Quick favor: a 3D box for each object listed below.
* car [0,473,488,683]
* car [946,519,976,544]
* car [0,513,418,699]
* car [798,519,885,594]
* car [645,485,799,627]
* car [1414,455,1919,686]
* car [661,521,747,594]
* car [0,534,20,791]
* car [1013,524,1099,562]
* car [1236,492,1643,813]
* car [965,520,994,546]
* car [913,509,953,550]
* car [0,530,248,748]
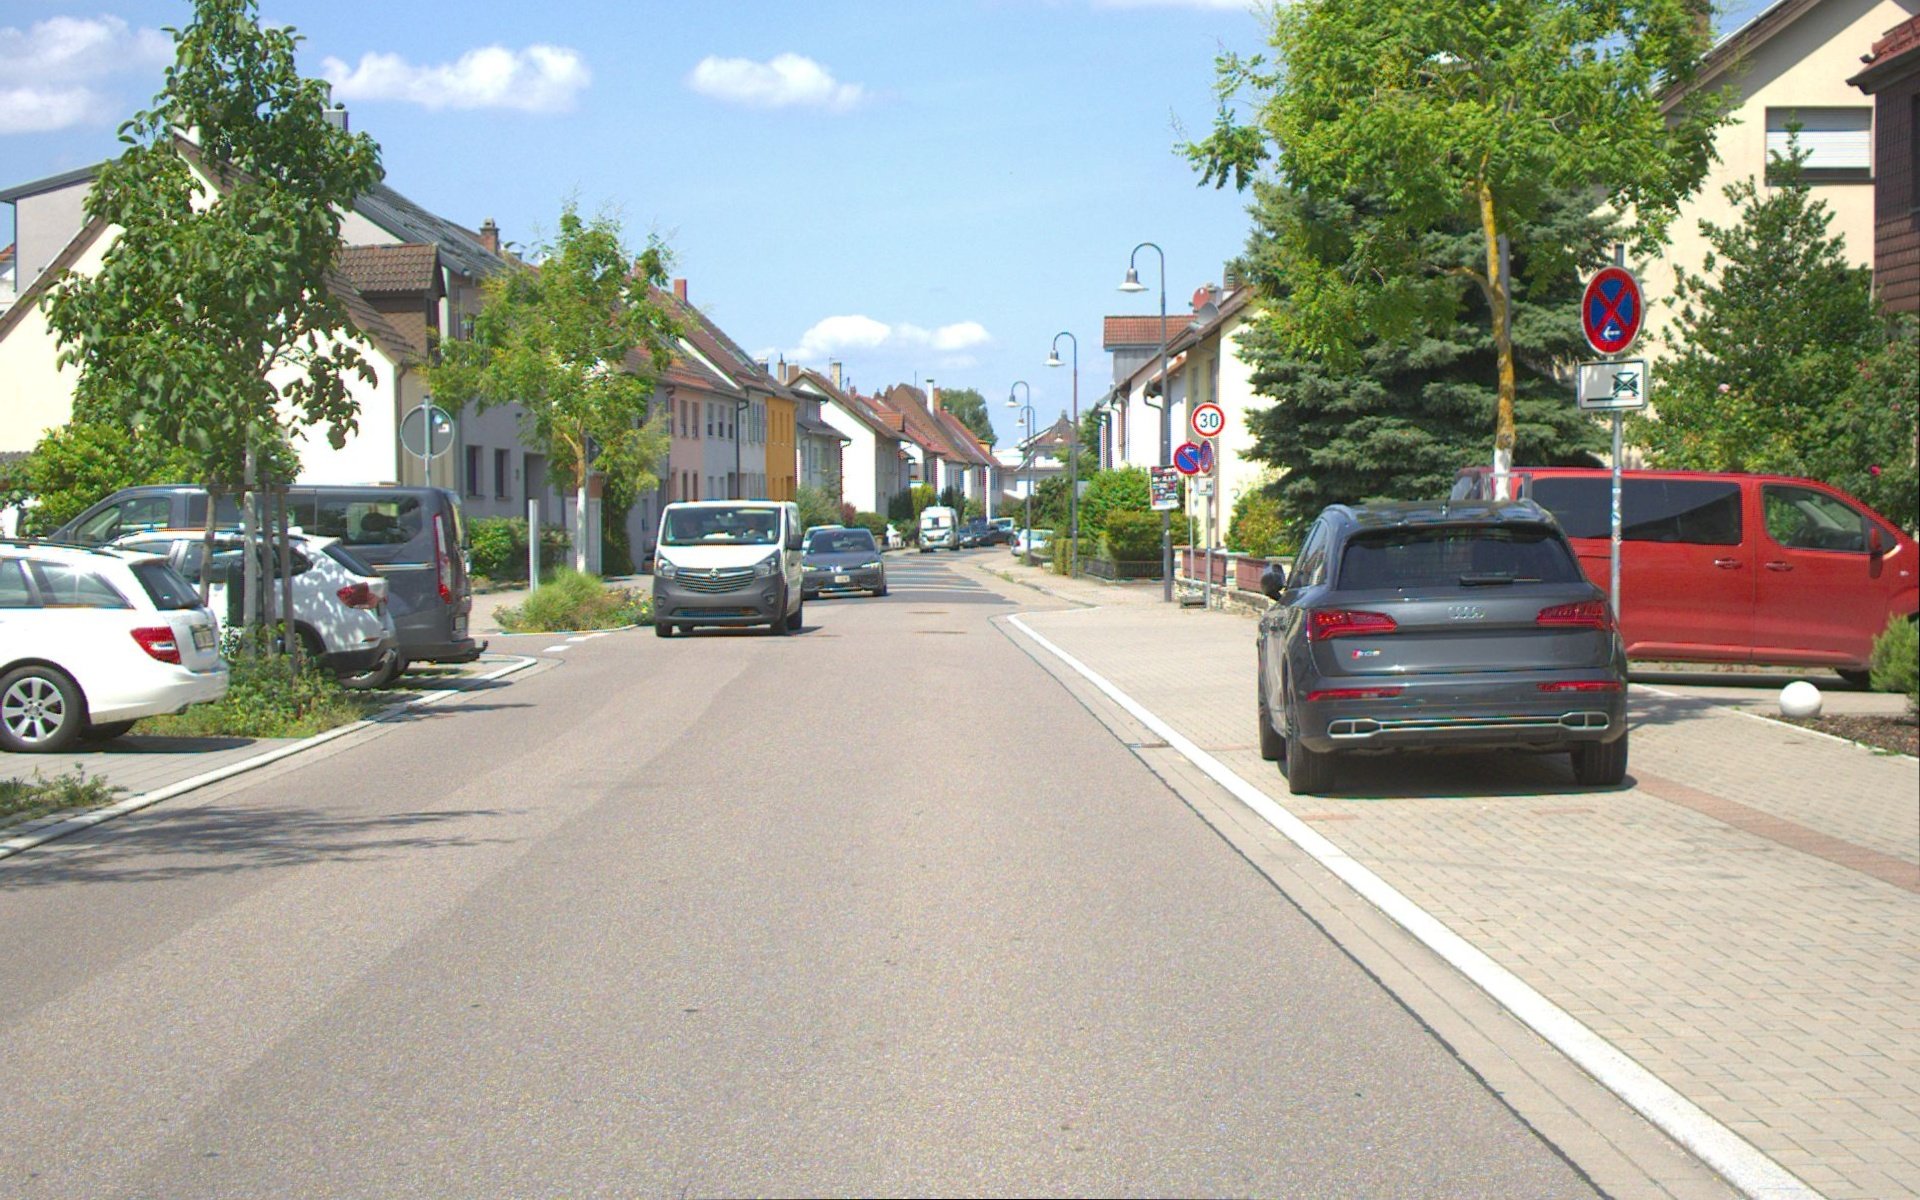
[{"bbox_3d":[-7.145,-0.224,33.853,4.700,1.916,1.938,1,0,-1],"label":"car"},{"bbox_3d":[0.045,-4.360,219.831,1.691,1.498,3.771,1,1,3],"label":"car"},{"bbox_3d":[-7.119,0.039,31.160,4.182,1.563,1.774,1,0,-4],"label":"car"},{"bbox_3d":[-2.540,-0.952,73.838,1.762,1.517,4.049,-2,1,-2],"label":"car"},{"bbox_3d":[-3.403,-0.639,49.928,2.022,1.943,4.899,-1,1,-2],"label":"car"},{"bbox_3d":[6.458,-0.250,30.146,4.618,1.887,2.021,1,0,-2],"label":"car"},{"bbox_3d":[-5.852,-1.003,79.018,1.816,1.428,4.140,3,2,-3],"label":"car"},{"bbox_3d":[-7.361,0.335,19.220,3.878,1.463,1.659,1,0,-9],"label":"car"},{"bbox_3d":[4.003,-2.380,143.787,3.523,1.459,1.628,1,0,0],"label":"car"},{"bbox_3d":[2.731,0.213,20.536,1.864,1.630,4.446,-2,2,2],"label":"car"},{"bbox_3d":[1.288,-4.415,227.307,1.691,1.654,3.771,1,1,3],"label":"car"},{"bbox_3d":[-1.527,-4.036,197.661,2.045,2.304,3.771,1,1,3],"label":"car"},{"bbox_3d":[-7.382,0.236,24.322,4.295,1.463,1.774,1,0,1],"label":"car"}]
